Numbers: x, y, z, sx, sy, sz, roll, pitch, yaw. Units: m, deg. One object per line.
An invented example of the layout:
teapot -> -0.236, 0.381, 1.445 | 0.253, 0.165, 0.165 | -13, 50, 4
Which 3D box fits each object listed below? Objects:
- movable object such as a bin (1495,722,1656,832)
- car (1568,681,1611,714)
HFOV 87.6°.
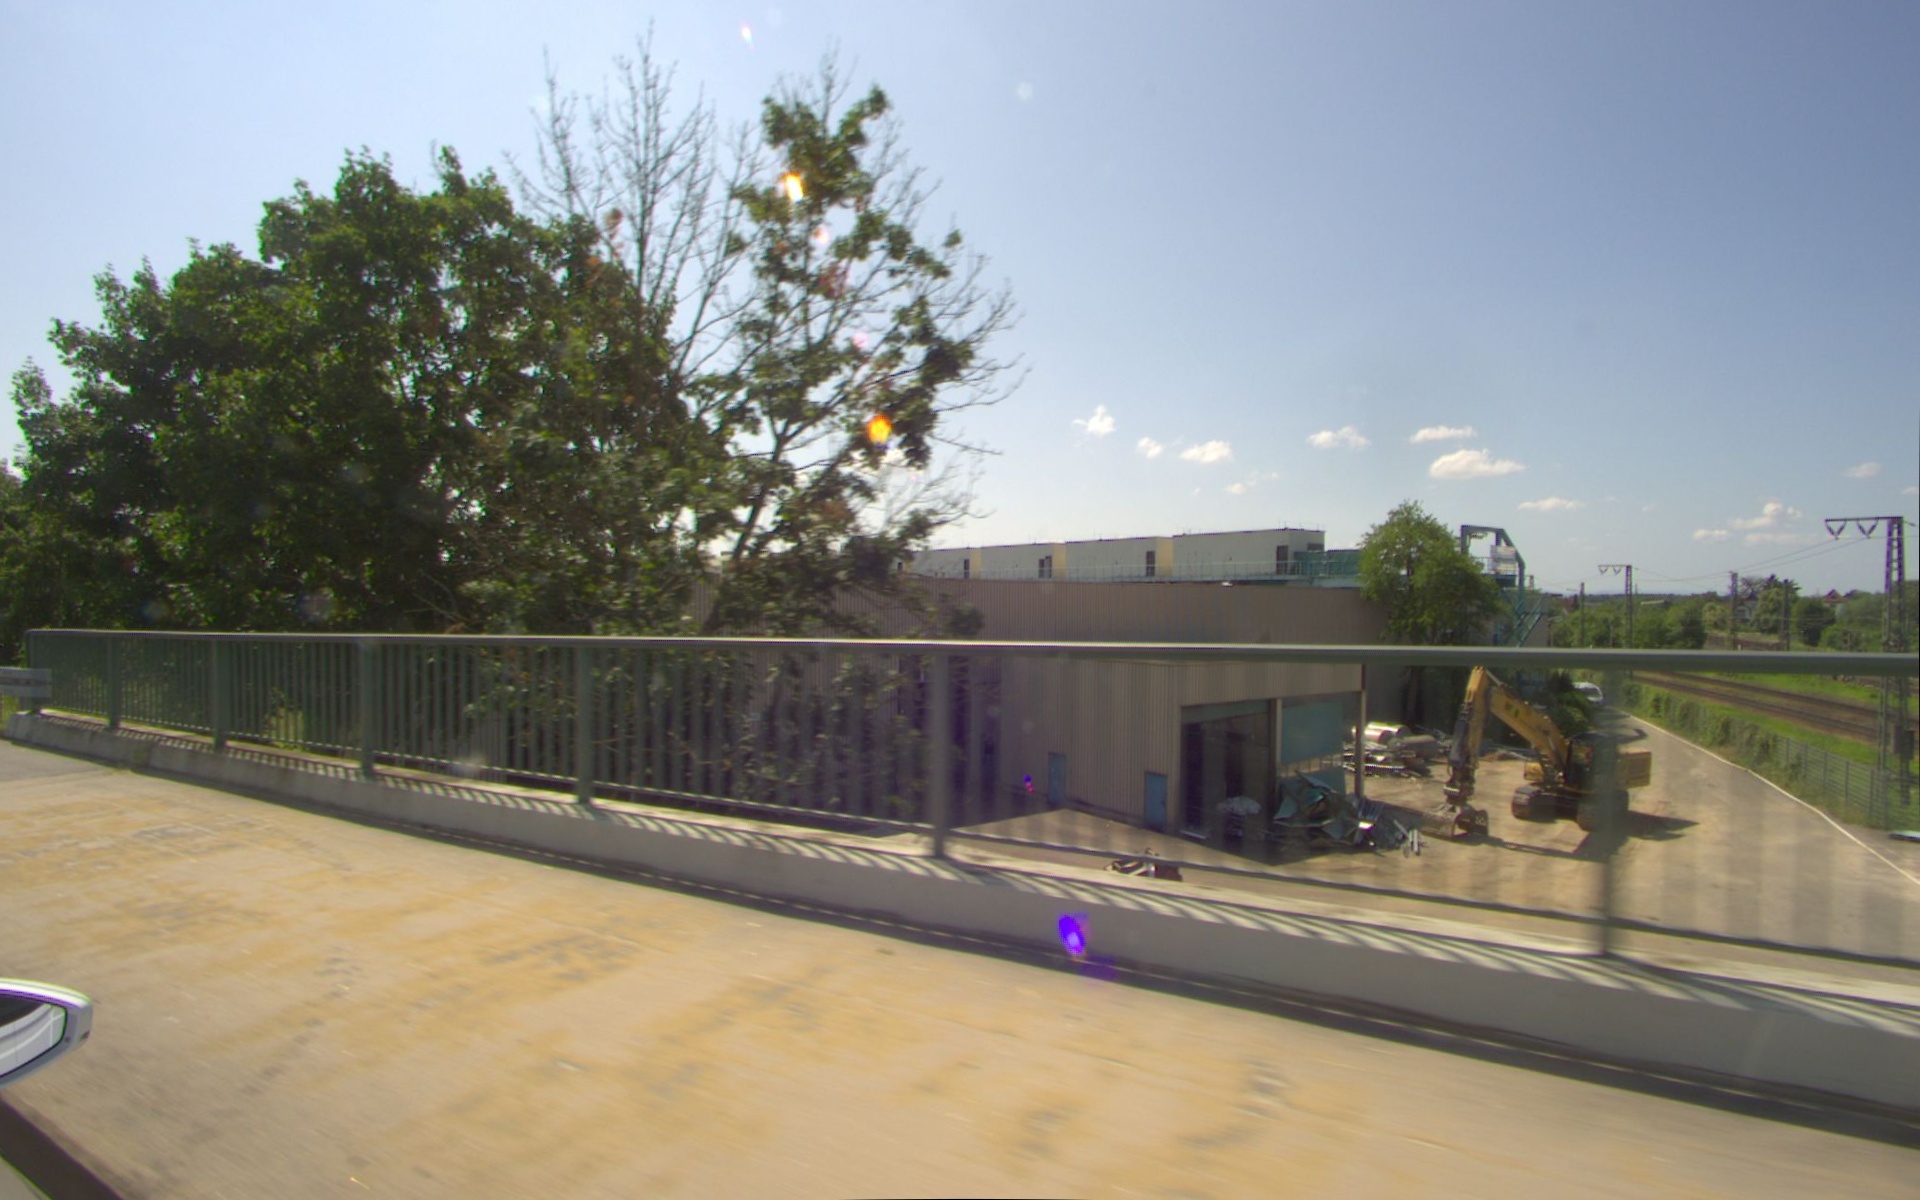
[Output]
movable object such as a bin -> 24.752, 6.949, 40.195 | 6.143, 3.335, 3.225 | 1, 2, -35
car -> 49.267, 7.587, 78.450 | 1.965, 2.041, 3.990 | 1, 1, 20
